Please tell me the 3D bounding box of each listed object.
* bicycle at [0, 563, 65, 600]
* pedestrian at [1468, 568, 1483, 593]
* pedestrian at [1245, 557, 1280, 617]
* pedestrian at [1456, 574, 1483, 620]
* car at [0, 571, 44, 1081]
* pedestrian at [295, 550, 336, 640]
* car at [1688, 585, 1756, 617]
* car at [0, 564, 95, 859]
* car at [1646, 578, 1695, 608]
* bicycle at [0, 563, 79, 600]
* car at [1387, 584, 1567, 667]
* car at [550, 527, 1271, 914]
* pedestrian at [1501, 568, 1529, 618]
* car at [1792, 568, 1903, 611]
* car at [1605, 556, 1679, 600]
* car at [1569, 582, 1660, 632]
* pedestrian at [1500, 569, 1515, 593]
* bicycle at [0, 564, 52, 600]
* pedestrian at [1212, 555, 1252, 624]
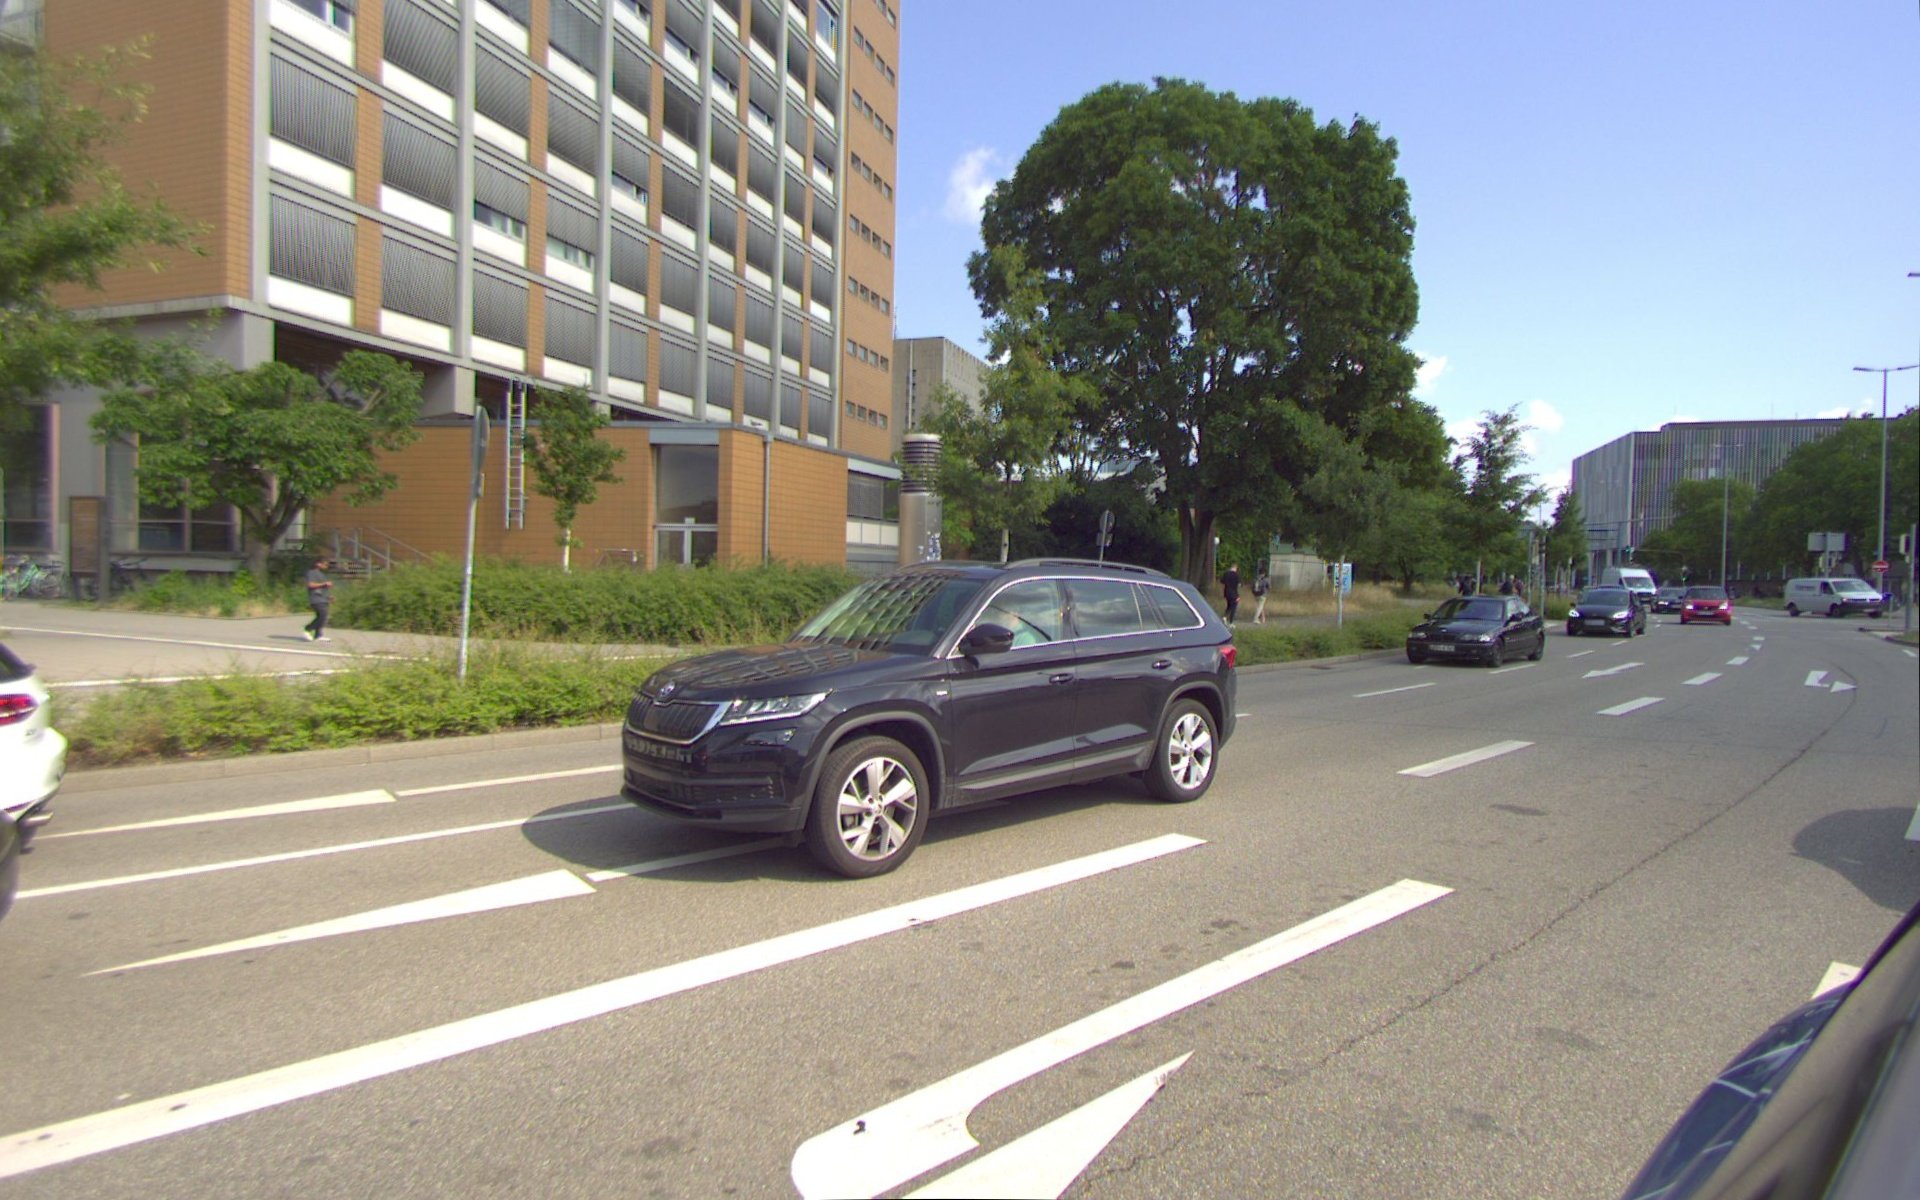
[{"bbox_3d":[-24.249,-0.484,26.250,0.453,0.916,1.539,1,2,22],"label":"bicycle"},{"bbox_3d":[41.208,-1.551,80.915,0.980,2.039,1.117,0,0,33],"label":"pedestrian"},{"bbox_3d":[9.259,-0.400,30.961,0.634,1.767,0.671,0,4,-41],"label":"pedestrian"},{"bbox_3d":[22.998,-0.134,45.687,0.980,2.039,1.117,0,0,33],"label":"pedestrian"},{"bbox_3d":[-5.020,0.655,2.385,4.182,1.548,1.770,1,1,-42],"label":"car"},{"bbox_3d":[-11.206,-0.095,17.599,0.570,1.539,0.480,0,2,-36],"label":"pedestrian"},{"bbox_3d":[31.019,0.019,41.190,2.958,1.229,1.607,-1,1,-41],"label":"car"},{"bbox_3d":[-6.674,0.509,4.535,4.156,1.465,1.682,3,-4,-40],"label":"car"},{"bbox_3d":[39.851,-0.398,56.849,1.875,1.638,3.958,0,0,30],"label":"car"},{"bbox_3d":[-23.664,-0.482,26.001,0.453,0.916,1.539,1,2,22],"label":"bicycle"},{"bbox_3d":[10.792,0.443,20.988,4.435,1.415,1.995,-3,3,-44],"label":"car"},{"bbox_3d":[-0.034,0.507,6.723,4.604,1.689,1.996,0,0,-43],"label":"car"},{"bbox_3d":[23.013,-0.287,41.958,0.980,2.039,1.117,0,0,33],"label":"pedestrian"},{"bbox_3d":[44.178,-0.494,50.558,1.970,2.039,5.053,0,0,13],"label":"car"},{"bbox_3d":[47.753,-1.584,71.067,2.452,2.914,6.119,1,2,16],"label":"car"},{"bbox_3d":[20.777,0.203,32.081,1.709,1.472,3.937,2,1,44],"label":"car"},{"bbox_3d":[47.428,-1.661,87.687,0.980,2.038,1.117,2,2,32],"label":"pedestrian"},{"bbox_3d":[-24.822,-0.485,26.504,0.453,0.916,1.539,1,2,22],"label":"bicycle"},{"bbox_3d":[7.629,-0.300,28.380,0.634,1.893,0.760,0,3,-41],"label":"pedestrian"}]
